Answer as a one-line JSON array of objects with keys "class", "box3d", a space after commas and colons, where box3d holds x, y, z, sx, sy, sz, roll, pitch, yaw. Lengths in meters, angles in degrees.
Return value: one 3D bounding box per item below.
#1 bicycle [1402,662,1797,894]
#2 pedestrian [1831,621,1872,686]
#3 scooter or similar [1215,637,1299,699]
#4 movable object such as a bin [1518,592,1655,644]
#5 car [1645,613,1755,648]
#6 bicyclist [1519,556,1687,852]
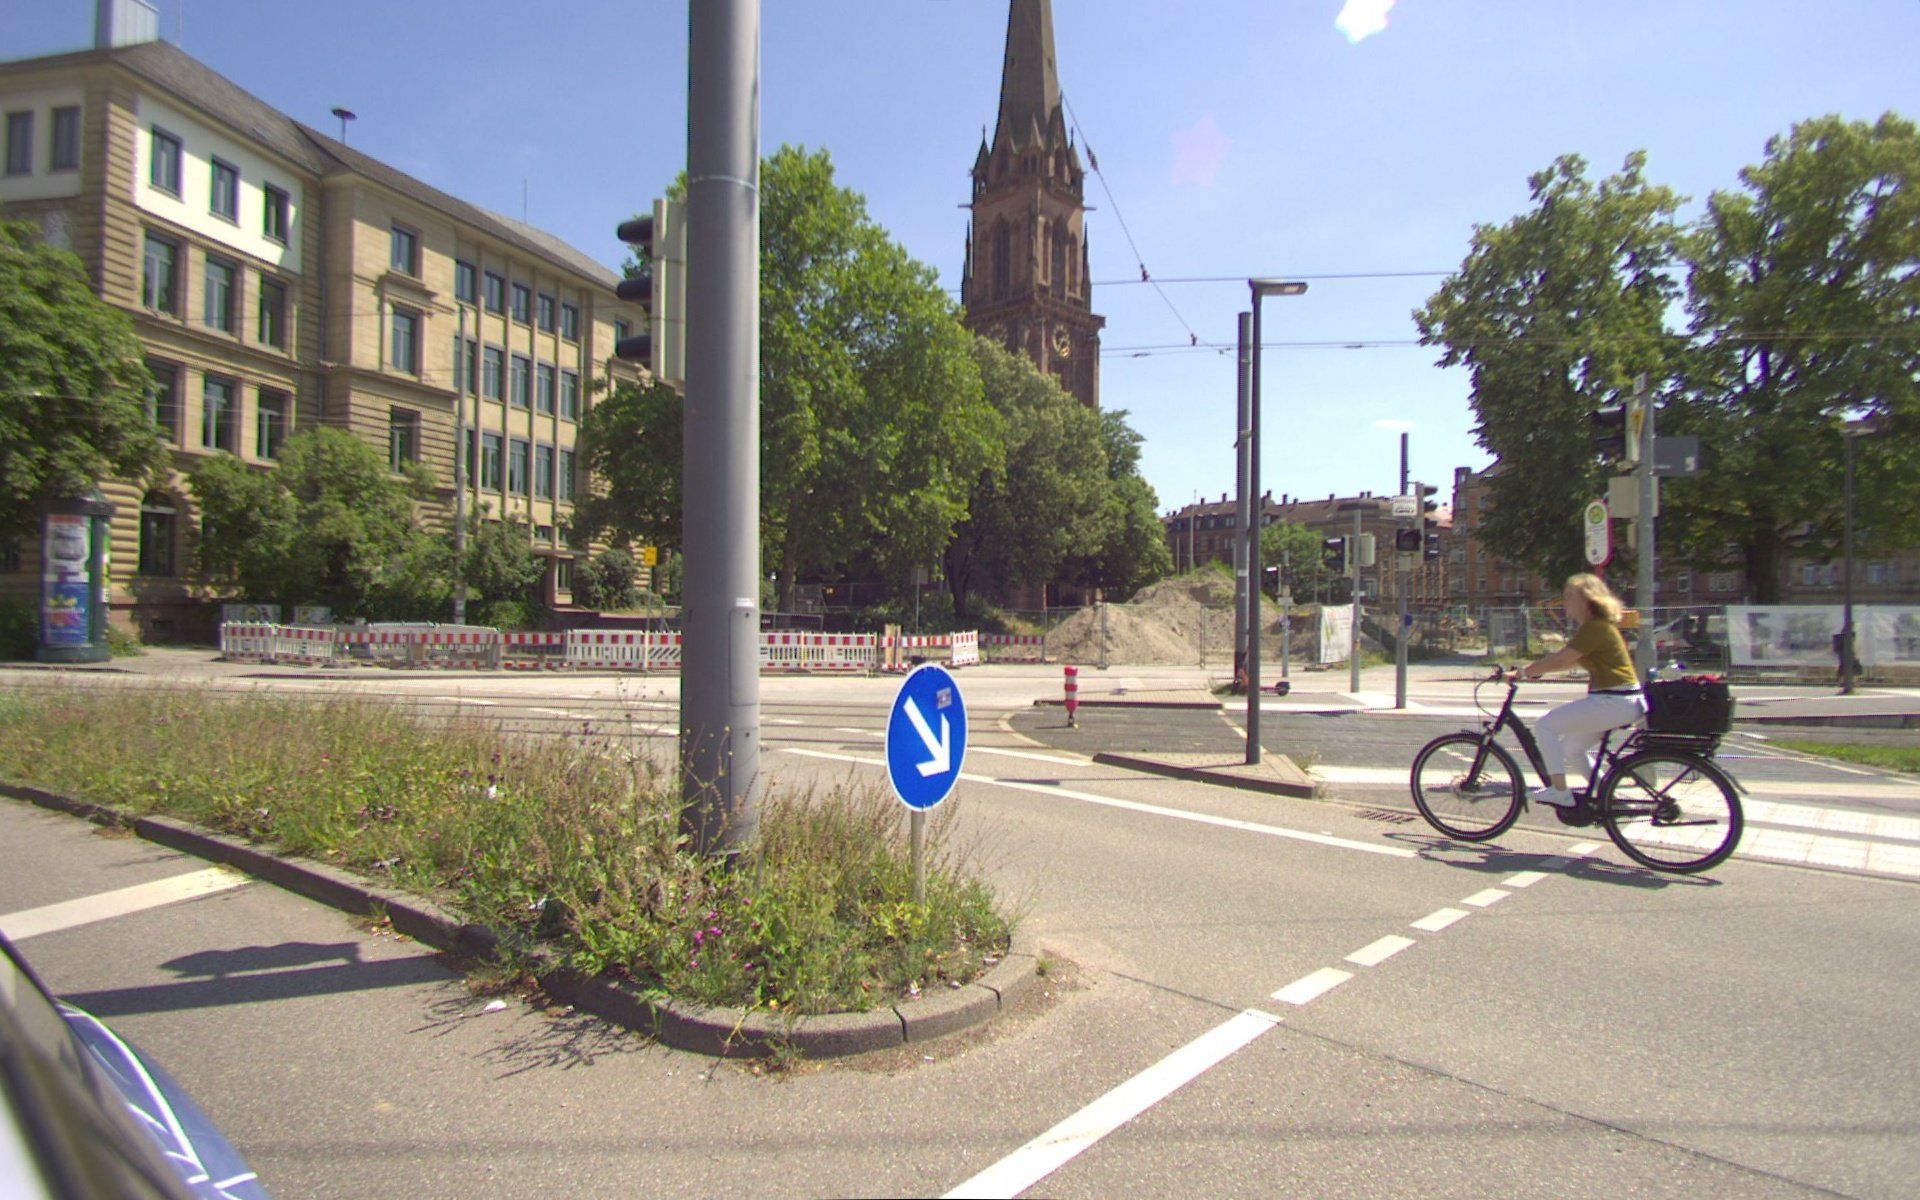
[{"class": "bicycle", "box3d": [3.884, 1.003, 6.288, 2.009, 1.159, 0.581, 0, -3, 41]}, {"class": "pedestrian", "box3d": [21.817, 1.292, 24.771, 0.473, 1.553, 0.553, -1, 0, -10]}, {"class": "scooter or similar", "box3d": [5.441, 1.231, 18.590, 1.447, 1.068, 0.335, -1, 0, 39]}, {"class": "movable object such as a bin", "box3d": [43.426, 1.206, 70.329, 7.955, 3.414, 2.876, -1, 0, 34]}, {"class": "car", "box3d": [36.833, 1.497, 50.528, 4.228, 1.614, 1.765, -1, 0, 30]}, {"class": "bicyclist", "box3d": [3.960, 0.603, 6.238, 0.798, 1.678, 0.579, -1, -3, 41]}]
